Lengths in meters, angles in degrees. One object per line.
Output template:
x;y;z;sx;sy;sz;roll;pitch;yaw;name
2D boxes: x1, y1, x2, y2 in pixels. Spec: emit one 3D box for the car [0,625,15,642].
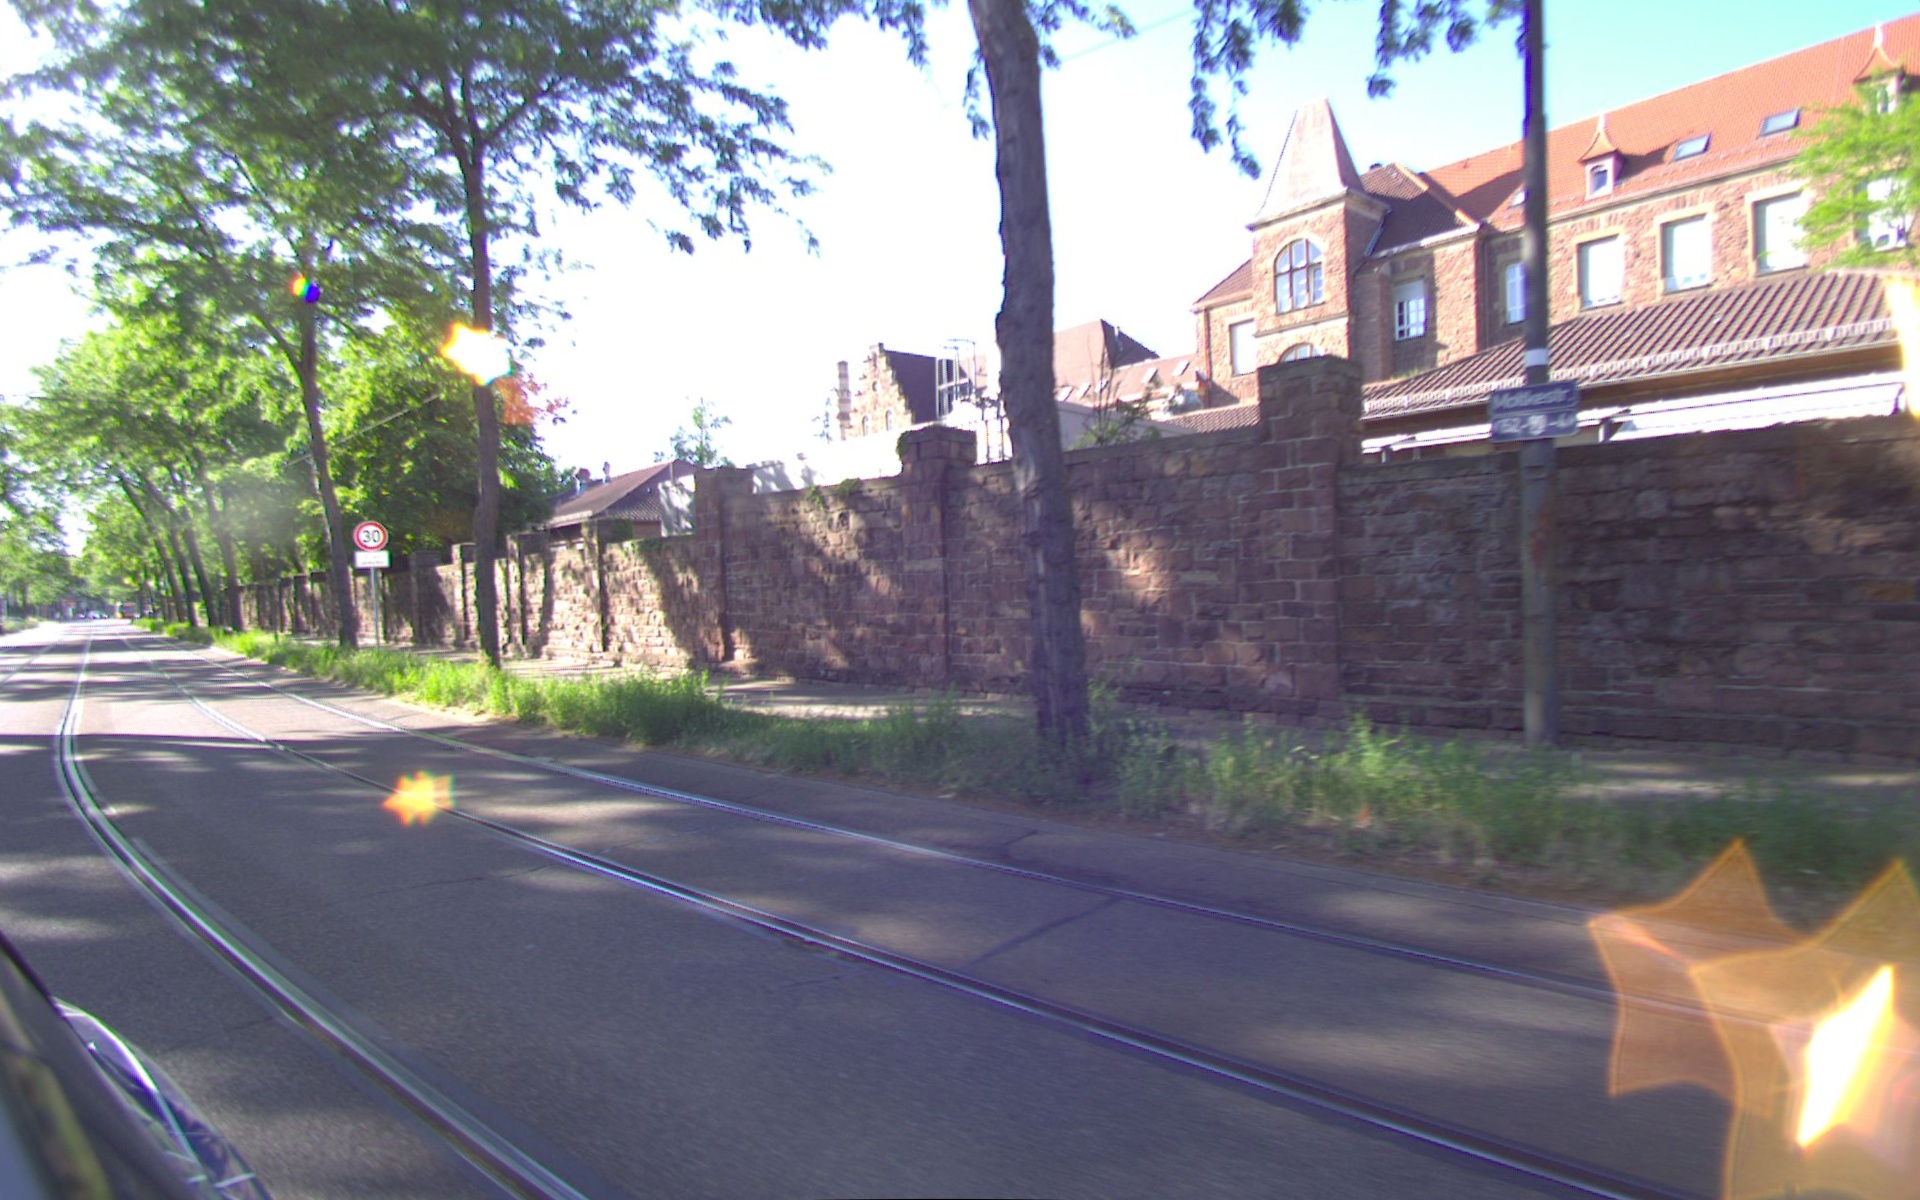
-92.313;3.255;97.224;1.969;1.429;4.007;-3;3;-40;car
